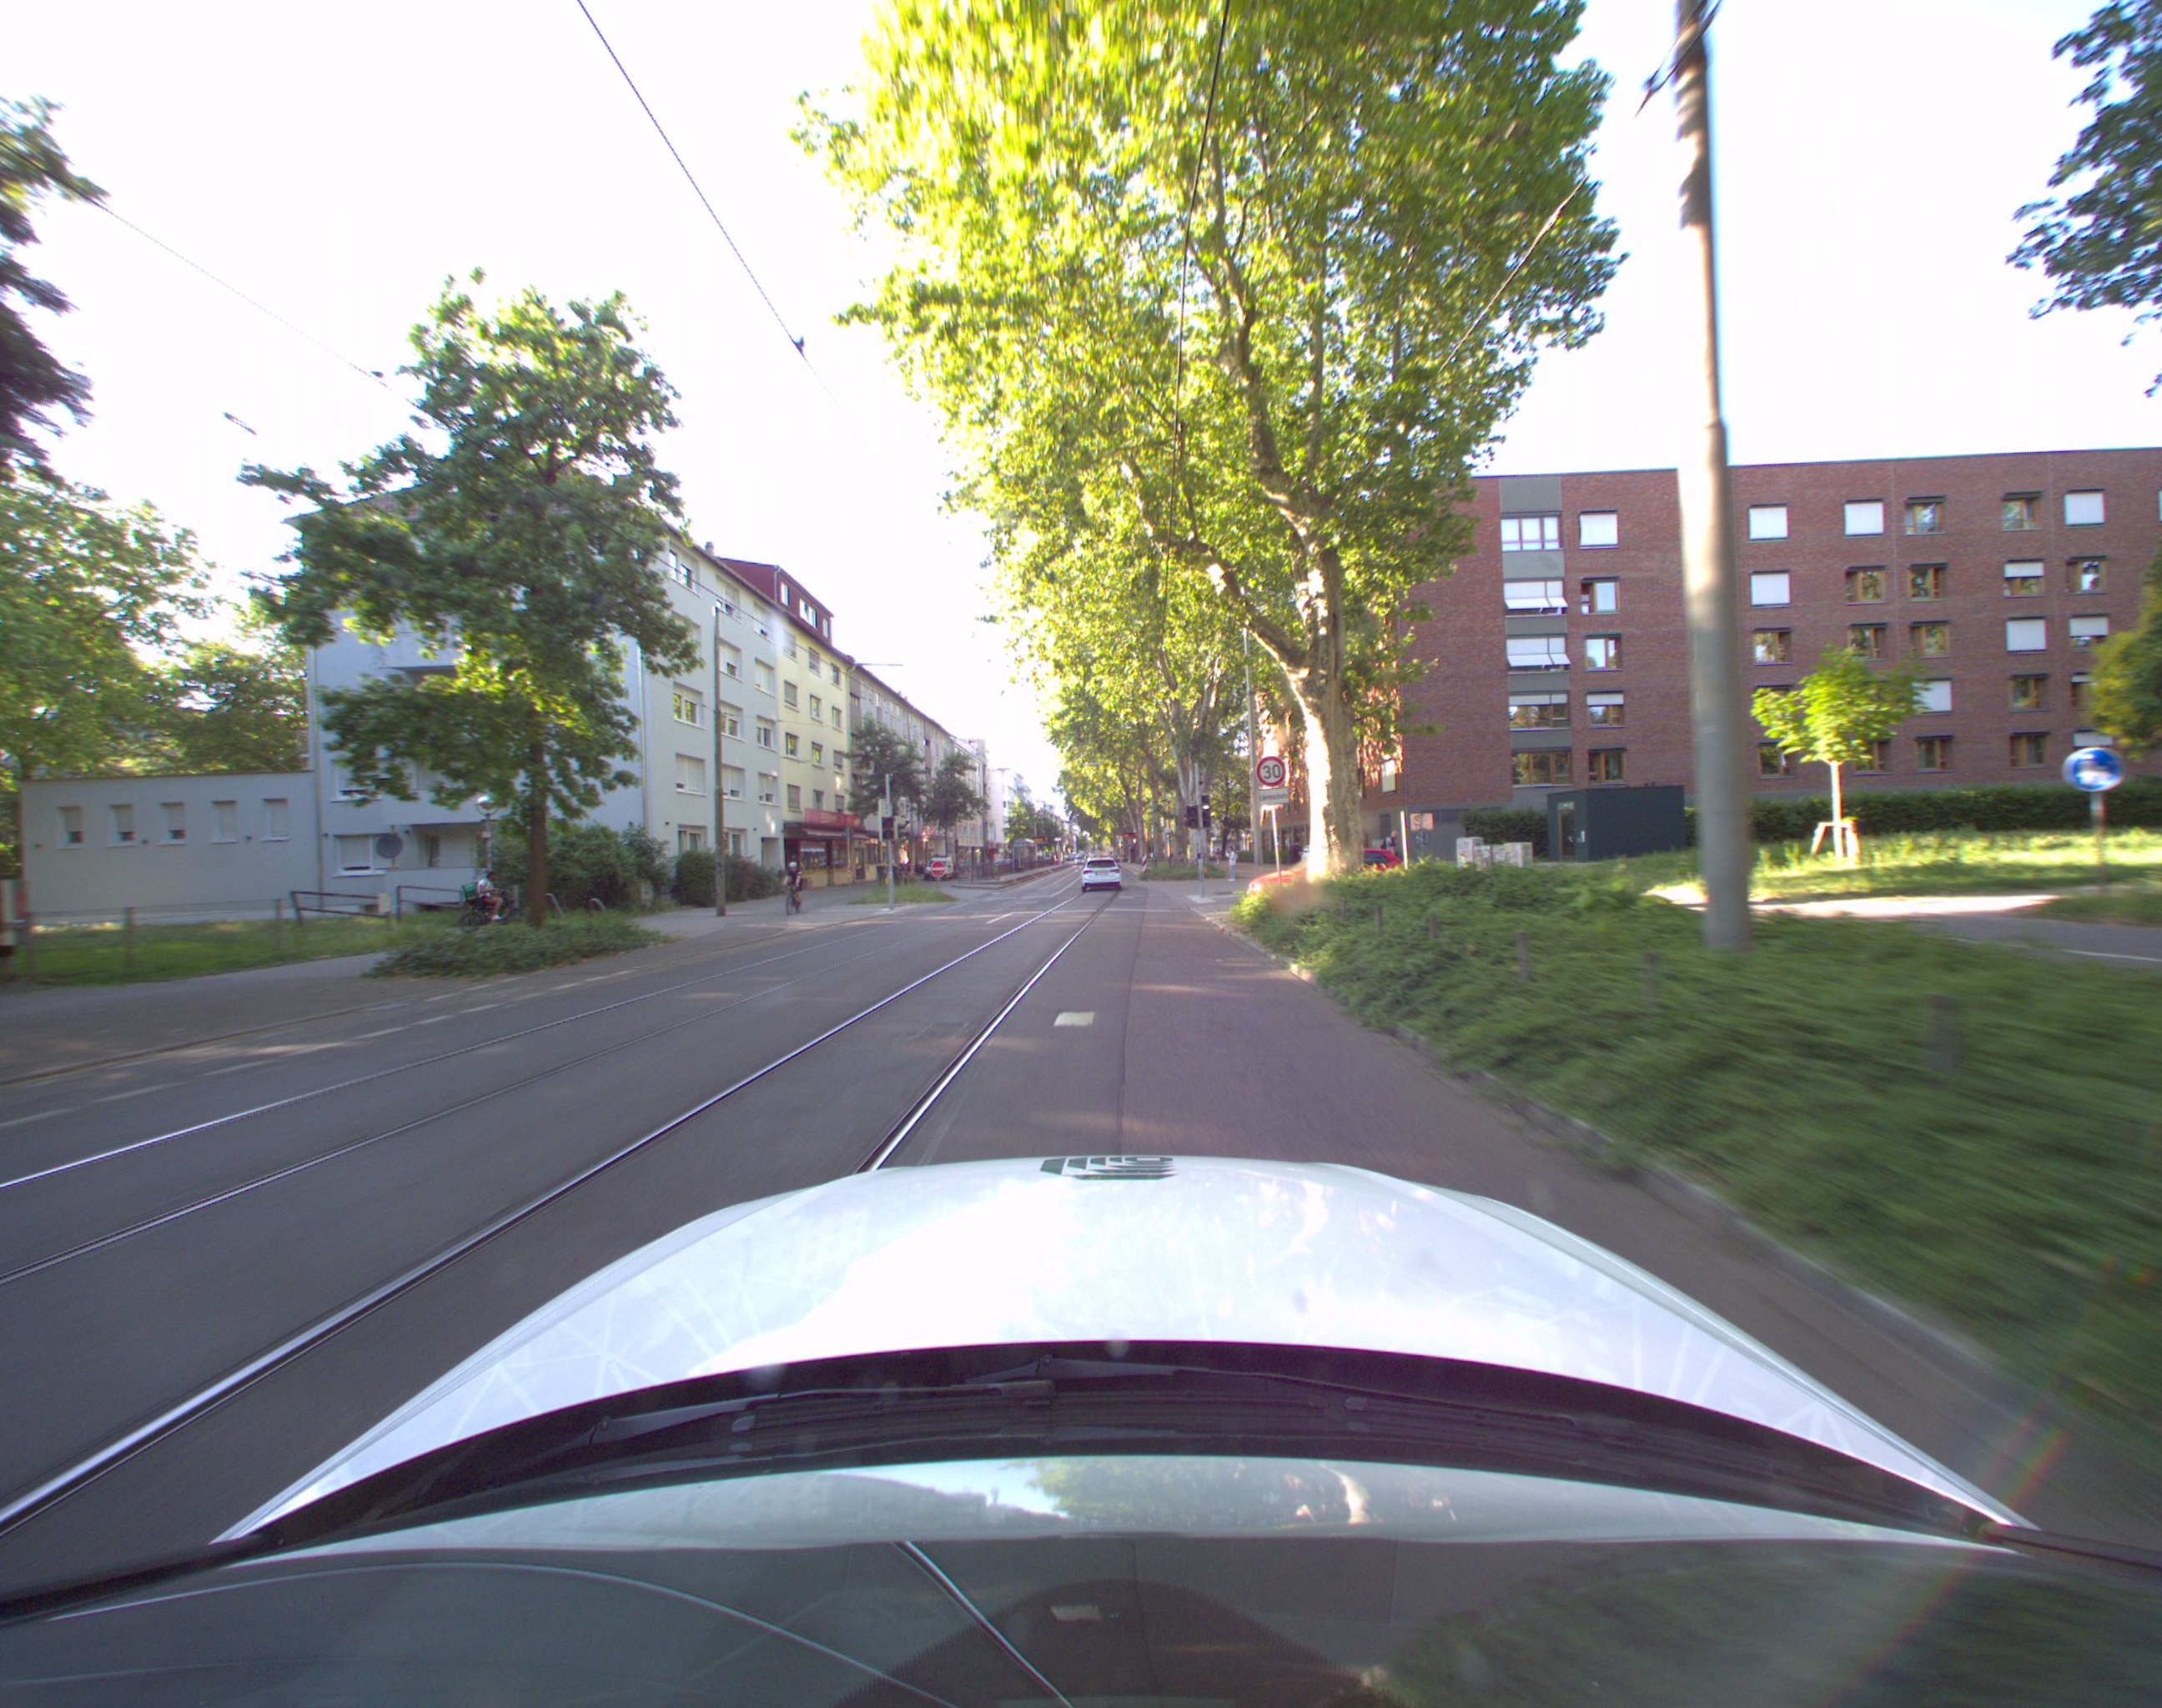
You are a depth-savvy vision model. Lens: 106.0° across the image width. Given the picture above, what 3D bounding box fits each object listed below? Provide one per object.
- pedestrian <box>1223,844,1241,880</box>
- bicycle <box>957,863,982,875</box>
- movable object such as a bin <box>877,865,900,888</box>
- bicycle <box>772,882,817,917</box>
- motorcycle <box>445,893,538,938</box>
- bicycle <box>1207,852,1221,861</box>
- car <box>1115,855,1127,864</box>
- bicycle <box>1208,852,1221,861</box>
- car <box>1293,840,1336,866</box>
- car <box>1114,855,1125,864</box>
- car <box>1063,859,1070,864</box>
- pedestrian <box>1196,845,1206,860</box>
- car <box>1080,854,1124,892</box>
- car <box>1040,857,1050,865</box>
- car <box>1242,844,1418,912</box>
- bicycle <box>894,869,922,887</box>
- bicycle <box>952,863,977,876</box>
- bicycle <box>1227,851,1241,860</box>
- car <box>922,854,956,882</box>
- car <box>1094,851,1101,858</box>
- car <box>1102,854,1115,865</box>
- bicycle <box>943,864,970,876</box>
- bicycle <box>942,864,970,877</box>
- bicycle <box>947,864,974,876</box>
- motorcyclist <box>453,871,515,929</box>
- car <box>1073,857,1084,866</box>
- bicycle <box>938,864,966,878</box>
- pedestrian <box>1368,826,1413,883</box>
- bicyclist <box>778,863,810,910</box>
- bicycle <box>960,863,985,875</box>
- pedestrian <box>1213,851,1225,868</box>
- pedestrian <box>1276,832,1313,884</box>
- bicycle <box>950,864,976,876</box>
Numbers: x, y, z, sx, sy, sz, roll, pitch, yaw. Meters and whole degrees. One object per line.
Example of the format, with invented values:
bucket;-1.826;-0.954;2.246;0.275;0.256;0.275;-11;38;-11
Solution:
pedestrian;7.096;0.362;38.324;0.650;1.669;0.738;-3;0;1
bicycle;-10.529;1.439;76.925;2.244;1.074;0.637;1;0;2
movable object such as a bin;-11.515;1.332;48.789;1.167;1.348;0.782;1;0;-3
bicycle;-9.273;1.451;26.421;0.639;0.987;2.101;-3;0;1
motorcycle;-15.573;1.610;21.550;1.872;1.032;0.595;-3;0;-11
bicycle;16.322;0.272;99.793;1.552;1.037;0.482;-3;0;22
car;7.040;0.919;142.941;1.986;1.453;4.001;-3;0;1
bicycle;16.514;0.269;100.705;1.552;1.037;0.507;-3;0;22
car;14.248;-0.068;49.904;1.595;1.495;3.417;-3;0;0
car;6.998;0.943;148.030;1.986;1.453;4.001;-3;0;1
car;-4.097;2.138;236.798;1.782;1.513;4.001;-3;0;1
pedestrian;13.743;-0.165;93.667;0.969;1.623;0.888;-3;0;1
car;0.932;0.786;36.222;1.782;1.513;4.001;-3;0;1
car;-7.027;1.339;160.799;1.672;1.548;4.001;0;0;1
car;6.072;0.571;20.208;3.867;1.423;1.650;-3;0;4
bicycle;-10.804;1.482;50.849;1.528;1.075;0.885;0;0;0
bicycle;-10.727;1.425;75.097;2.244;1.074;0.637;1;0;2
bicycle;18.723;0.128;99.835;1.552;1.037;0.482;-3;0;22
car;-10.761;1.027;62.023;1.682;1.940;4.001;-3;0;1
car;4.706;0.093;235.472;1.859;1.892;4.001;-3;0;1
car;4.076;0.847;121.148;1.782;1.513;4.001;-3;0;1
bicycle;-10.873;1.397;71.415;2.244;1.074;0.637;1;0;2
bicycle;-10.661;1.419;69.650;2.244;1.074;0.637;1;0;2
bicycle;-10.669;1.410;72.084;2.244;1.074;0.637;1;0;2
motorcyclist;-15.760;1.210;21.519;1.100;1.449;0.595;-3;0;-10
car;-0.402;1.257;139.544;1.687;1.419;4.001;-3;0;1
bicycle;-10.753;1.403;68.003;2.244;1.074;0.637;1;0;2
pedestrian;10.725;0.009;28.245;0.981;1.863;1.014;-6;0;-4
bicyclist;-9.304;1.042;26.433;0.639;1.455;0.837;-3;0;1
bicycle;-10.528;1.444;78.934;2.244;1.074;0.637;1;0;2
pedestrian;13.004;0.508;76.919;0.969;1.623;0.888;-3;0;1
pedestrian;7.756;0.146;29.601;0.992;1.811;0.863;-3;0;-4
bicycle;-10.624;1.413;73.348;2.244;1.074;0.637;1;0;2
